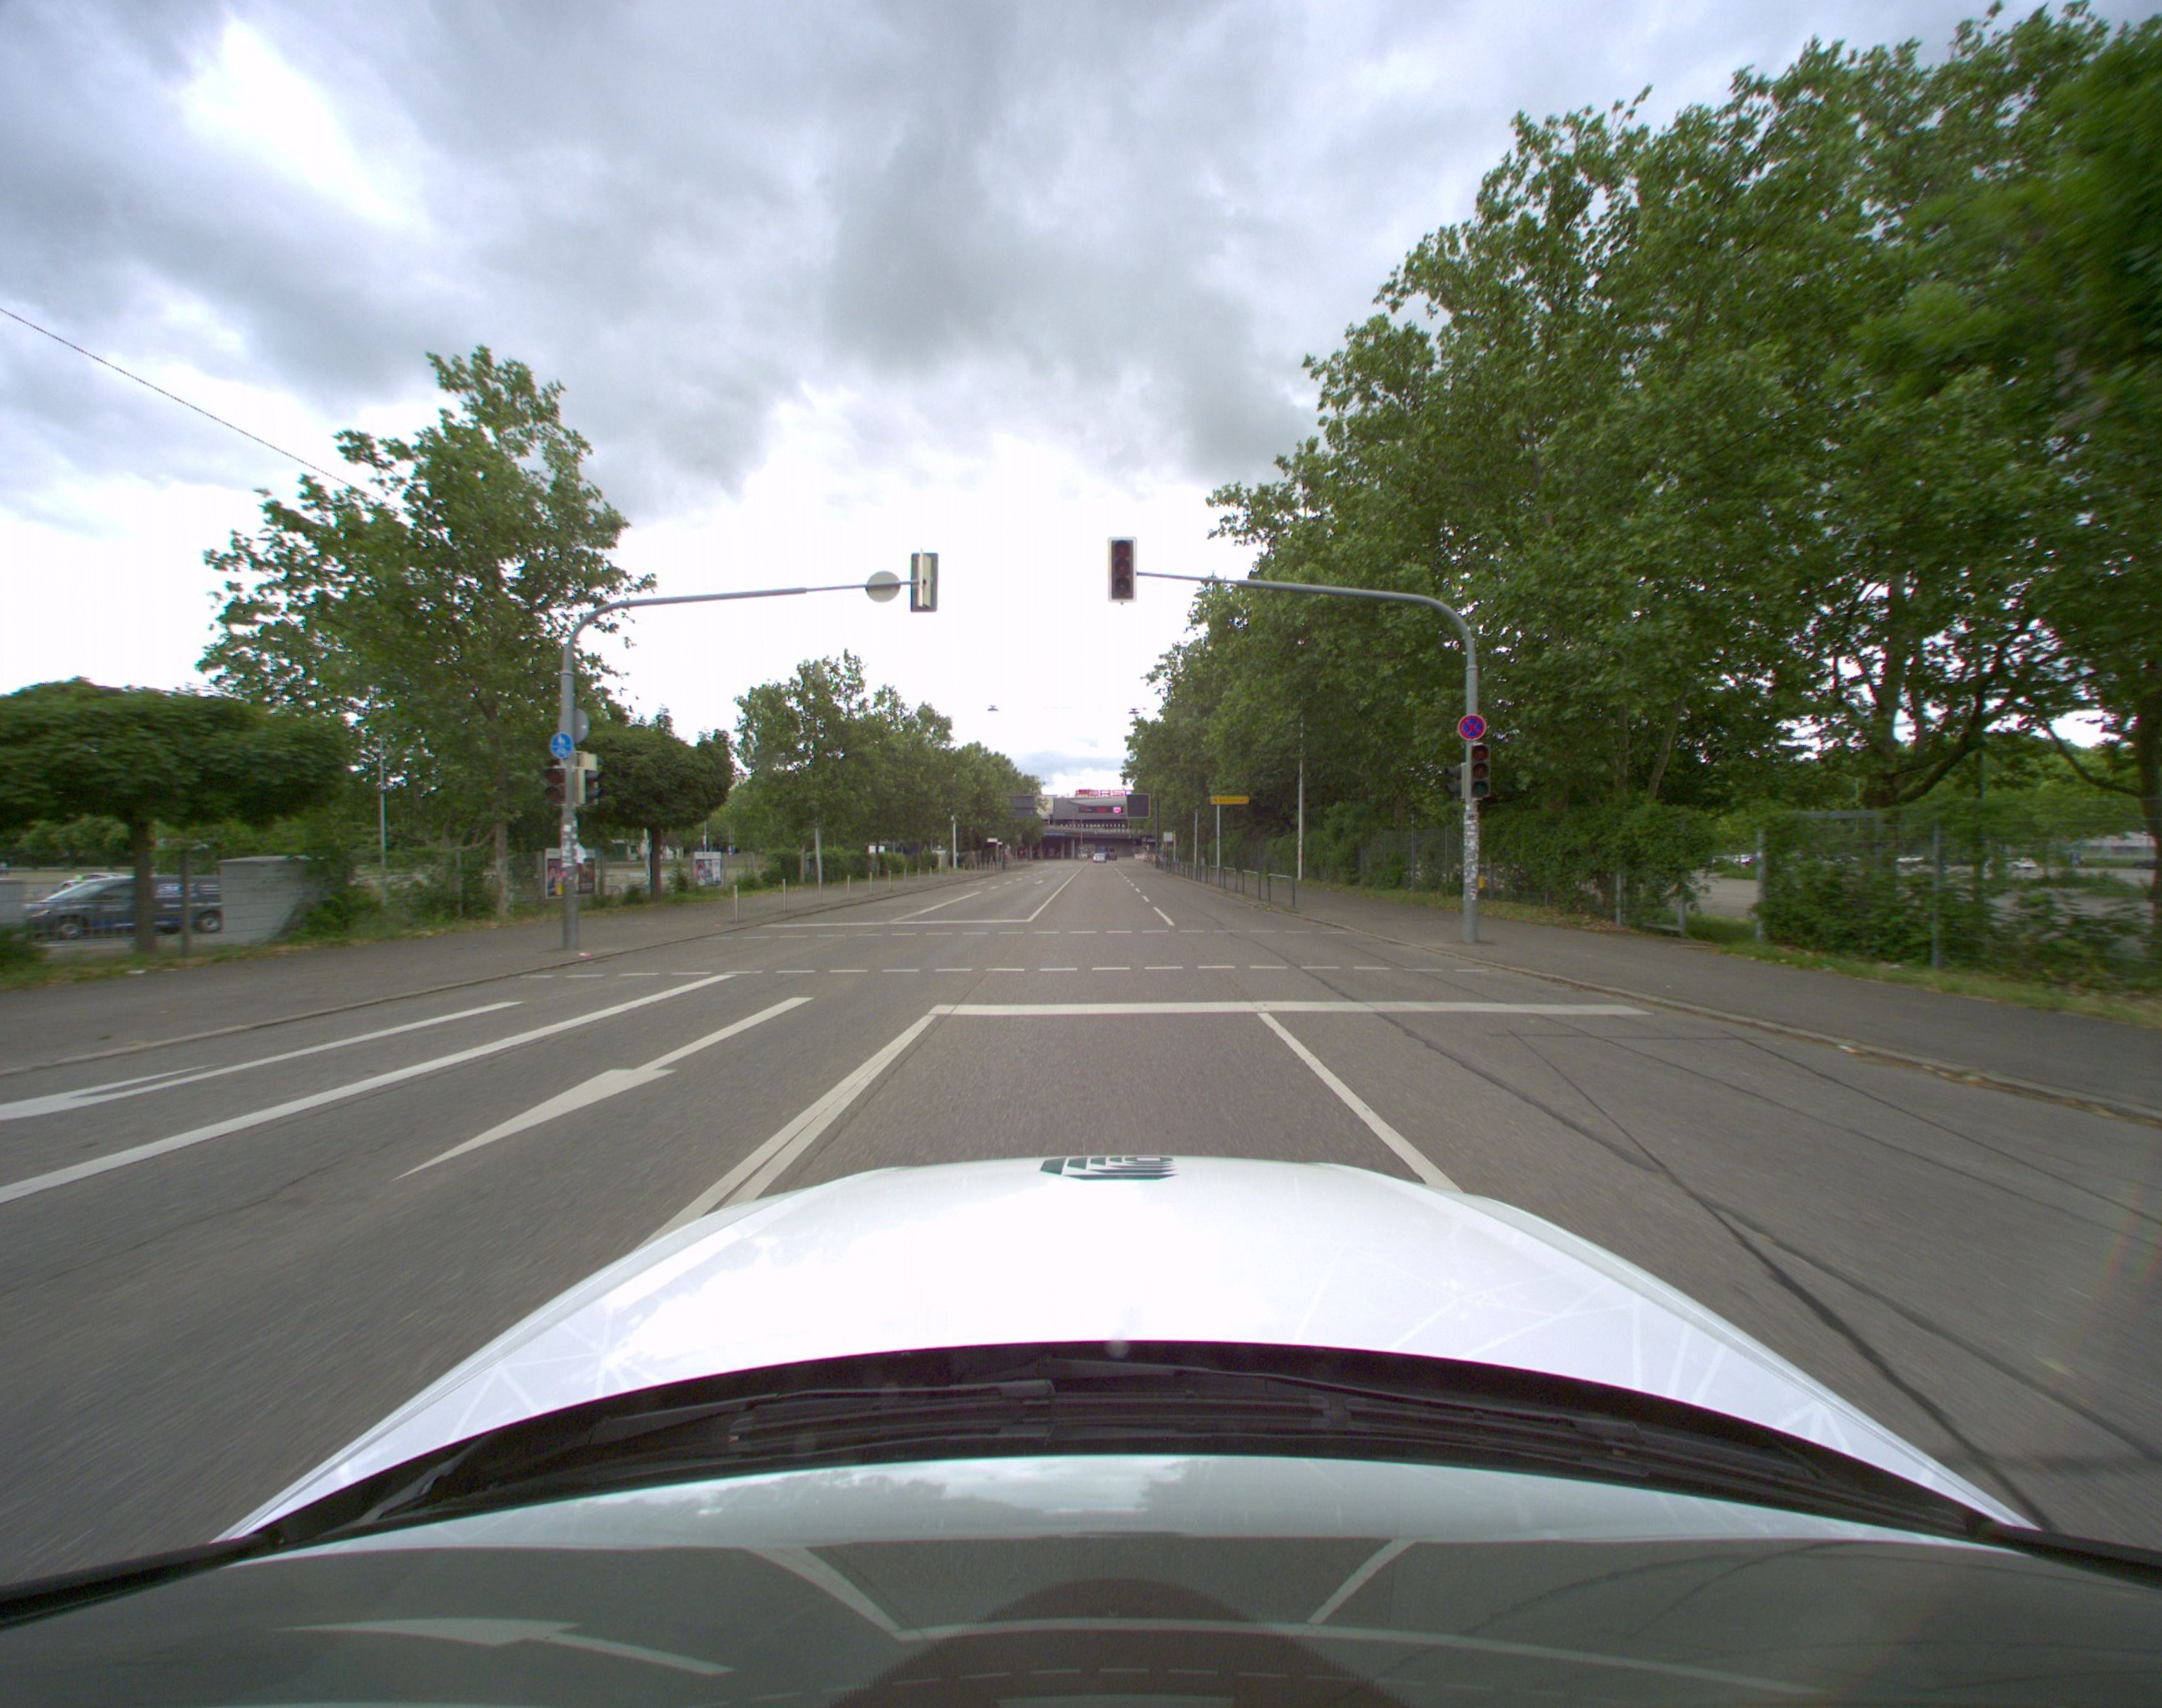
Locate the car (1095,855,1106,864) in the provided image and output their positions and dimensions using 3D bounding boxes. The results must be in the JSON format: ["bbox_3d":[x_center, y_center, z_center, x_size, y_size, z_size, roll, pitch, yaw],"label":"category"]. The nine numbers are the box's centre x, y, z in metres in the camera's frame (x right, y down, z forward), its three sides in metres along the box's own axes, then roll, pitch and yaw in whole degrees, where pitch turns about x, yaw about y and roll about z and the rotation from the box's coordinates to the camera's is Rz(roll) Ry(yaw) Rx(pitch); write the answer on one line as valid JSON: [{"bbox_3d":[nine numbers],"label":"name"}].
[{"bbox_3d":[3.238,0.866,133.134,1.771,1.460,3.824,1,0,2],"label":"car"}]

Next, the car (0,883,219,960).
[{"bbox_3d":[-28.587,1.840,23.577,1.867,1.835,4.611,1,0,15],"label":"car"}]

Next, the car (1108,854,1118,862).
[{"bbox_3d":[6.868,0.755,173.294,1.999,1.698,4.072,0,0,2],"label":"car"}]
